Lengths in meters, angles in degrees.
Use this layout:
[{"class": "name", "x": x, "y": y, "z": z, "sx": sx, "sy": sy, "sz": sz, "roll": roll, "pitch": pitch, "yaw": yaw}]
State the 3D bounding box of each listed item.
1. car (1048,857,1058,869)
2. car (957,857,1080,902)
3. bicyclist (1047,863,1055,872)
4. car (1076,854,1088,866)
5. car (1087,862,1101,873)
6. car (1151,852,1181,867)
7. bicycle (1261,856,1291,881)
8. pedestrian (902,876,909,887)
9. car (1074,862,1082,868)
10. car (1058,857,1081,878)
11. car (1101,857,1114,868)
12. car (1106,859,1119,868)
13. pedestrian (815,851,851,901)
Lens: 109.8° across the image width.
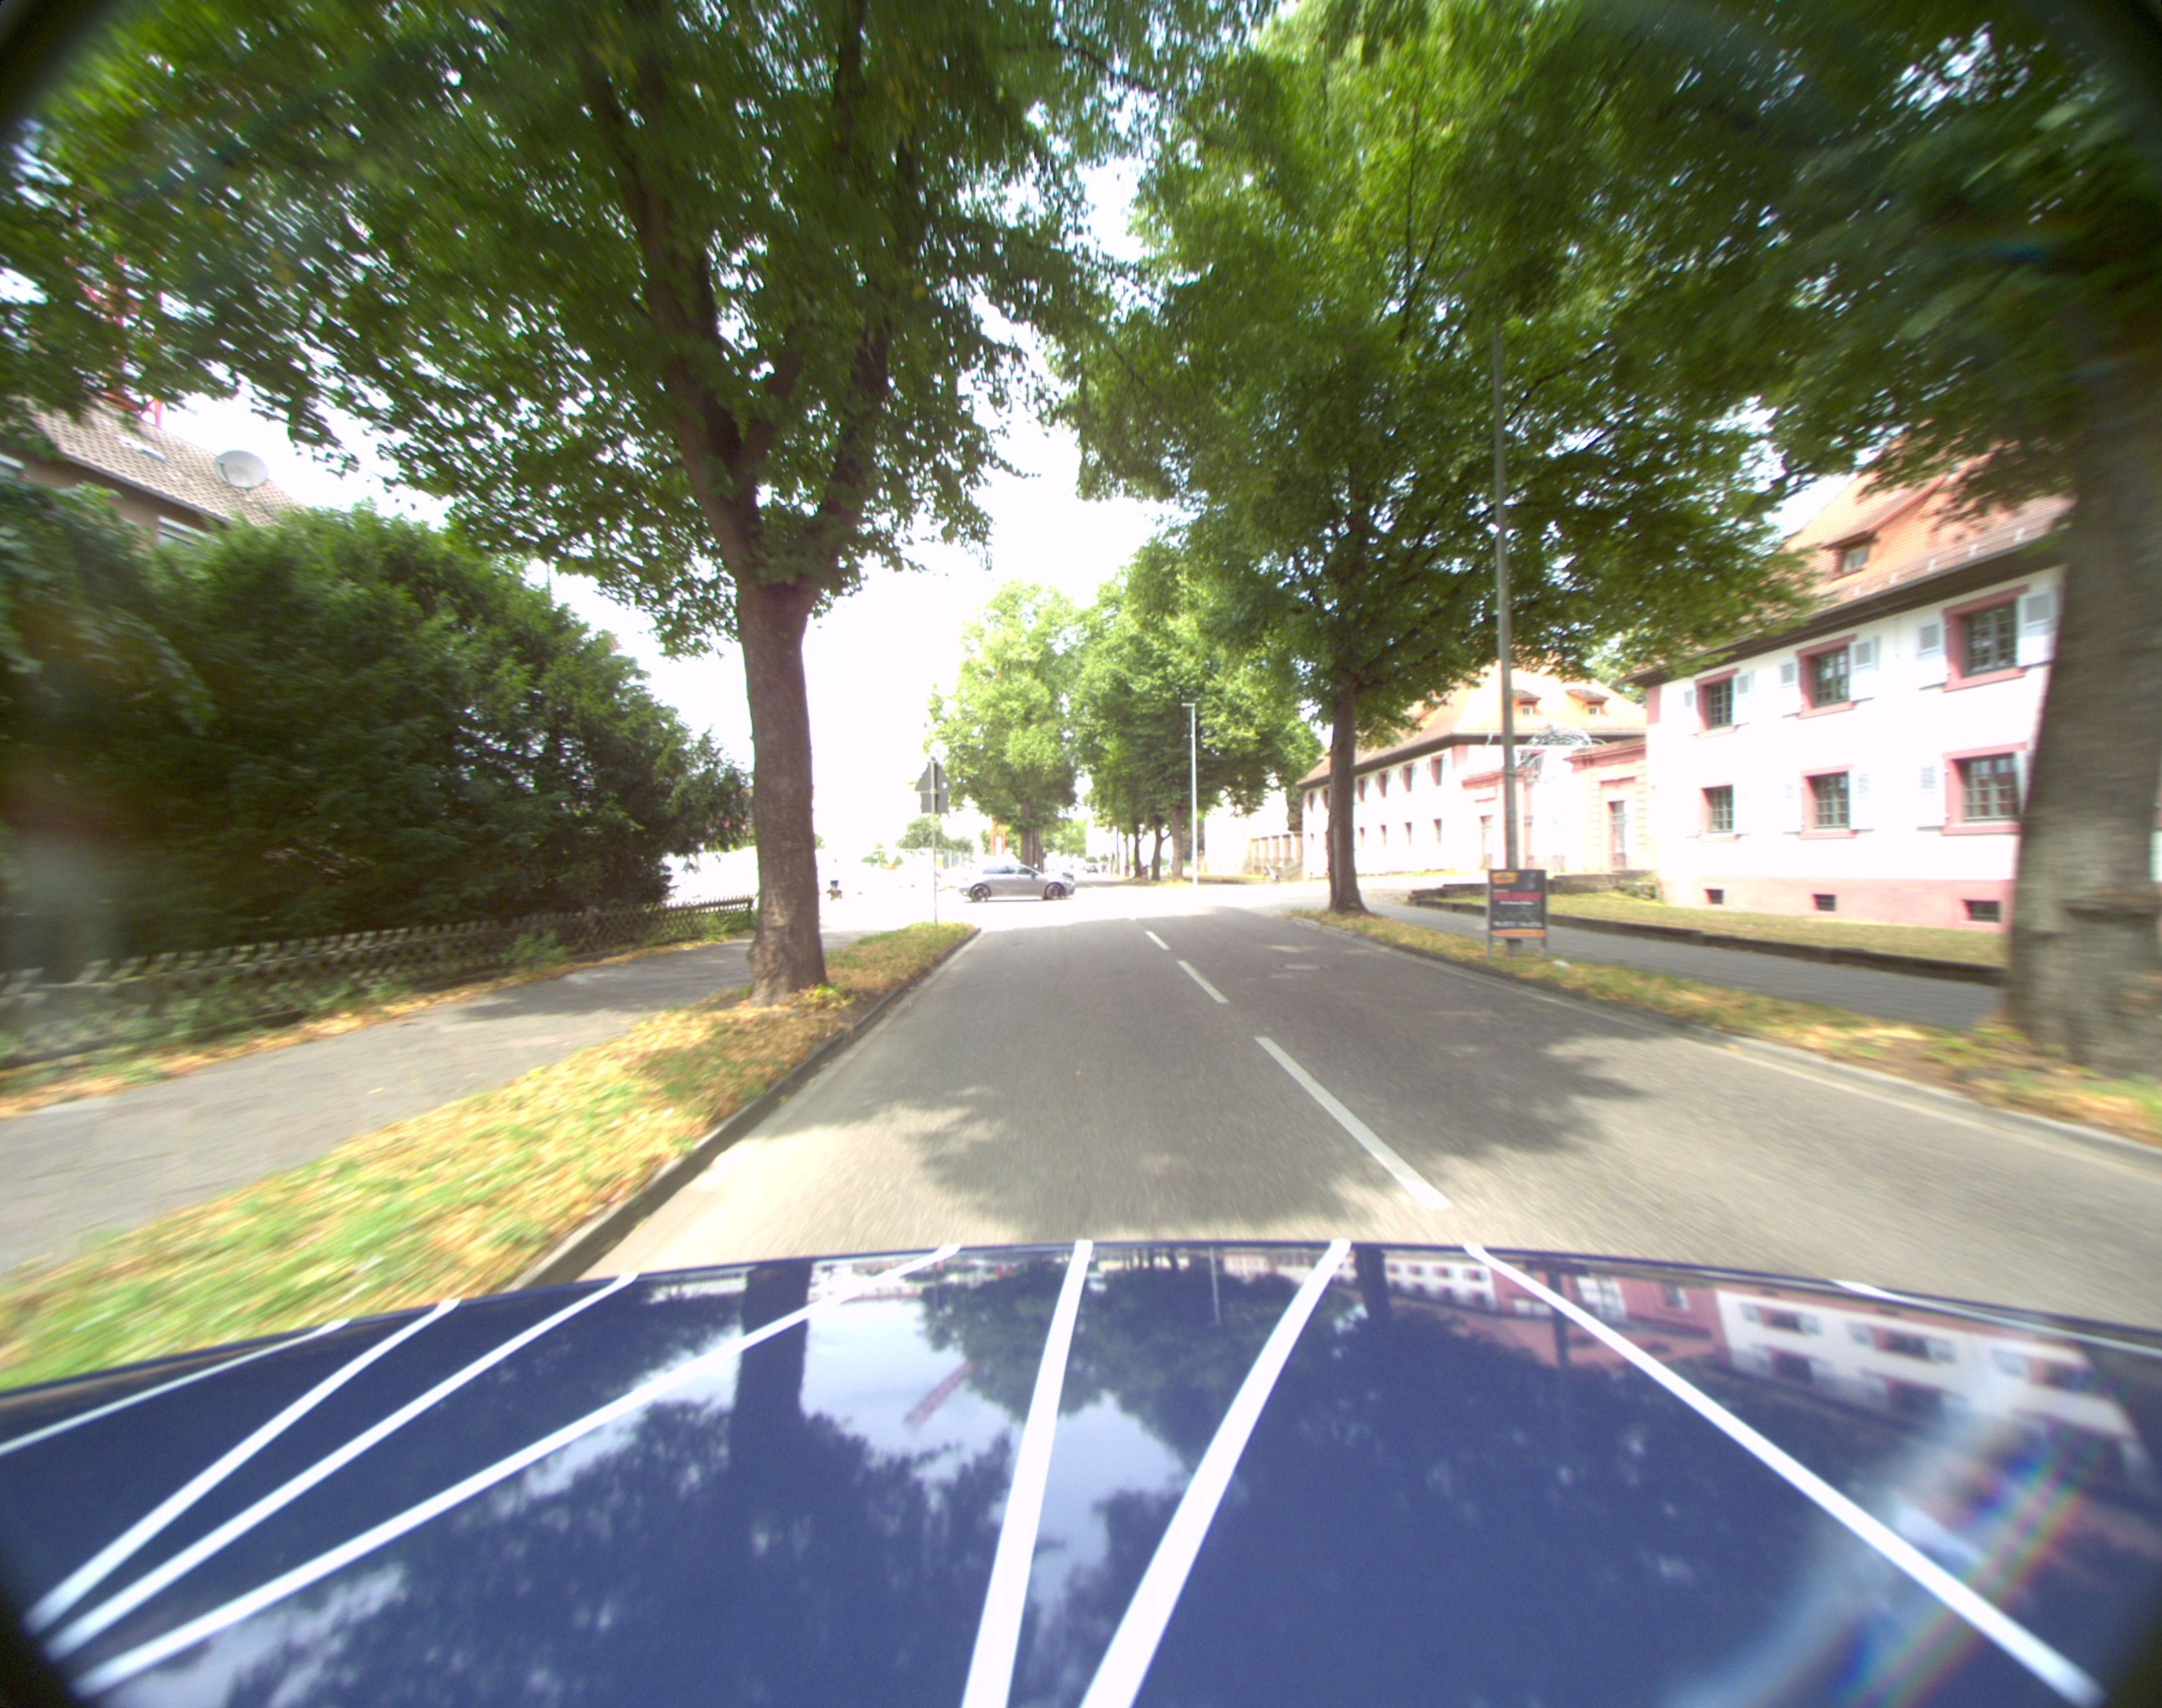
[{"class": "car", "x": -6.198, "y": 2.029, "z": 168.588, "sx": 1.901, "sy": 2.587, "sz": 4.903, "roll": -3, "pitch": 0, "yaw": -4}, {"class": "car", "x": -2.389, "y": 0.933, "z": 28.605, "sx": 4.387, "sy": 1.435, "sz": 2.007, "roll": -1, "pitch": 3, "yaw": -13}, {"class": "bicyclist", "x": -5.007, "y": 2.299, "z": 127.018, "sx": 1.078, "sy": 1.404, "sz": 0.716, "roll": -4, "pitch": -2, "yaw": 31}, {"class": "car", "x": 0.150, "y": 1.665, "z": 201.266, "sx": 2.622, "sy": 3.039, "sz": 7.112, "roll": 1, "pitch": -1, "yaw": -4}, {"class": "car", "x": 1.895, "y": 1.980, "z": 113.619, "sx": 1.776, "sy": 1.649, "sz": 4.256, "roll": 0, "pitch": 0, "yaw": -2}, {"class": "car", "x": 16.023, "y": 0.984, "z": 143.768, "sx": 5.324, "sy": 2.537, "sz": 2.355, "roll": -3, "pitch": 0, "yaw": 0}, {"class": "bicycle", "x": 9.143, "y": 0.683, "z": 35.764, "sx": 0.724, "sy": 1.088, "sz": 2.225, "roll": -4, "pitch": -1, "yaw": -1}, {"class": "pedestrian", "x": -27.711, "y": 4.374, "z": 120.130, "sx": 0.842, "sy": 1.712, "sz": 0.722, "roll": 1, "pitch": 0, "yaw": 36}, {"class": "car", "x": -0.864, "y": 3.039, "z": 214.281, "sx": 1.853, "sy": 1.622, "sz": 4.217, "roll": 1, "pitch": 0, "yaw": -4}, {"class": "car", "x": -1.117, "y": 1.258, "z": 73.870, "sx": 1.999, "sy": 2.002, "sz": 3.998, "roll": 0, "pitch": 0, "yaw": -4}, {"class": "car", "x": 4.863, "y": 1.602, "z": 139.634, "sx": 1.954, "sy": 1.992, "sz": 4.843, "roll": -2, "pitch": -1, "yaw": -2}, {"class": "car", "x": 5.296, "y": 1.626, "z": 128.965, "sx": 1.827, "sy": 1.464, "sz": 4.297, "roll": -2, "pitch": -1, "yaw": -3}, {"class": "pedestrian", "x": -9.183, "y": 0.822, "z": 28.195, "sx": 0.883, "sy": 1.803, "sz": 0.890, "roll": 1, "pitch": 0, "yaw": 18}]
